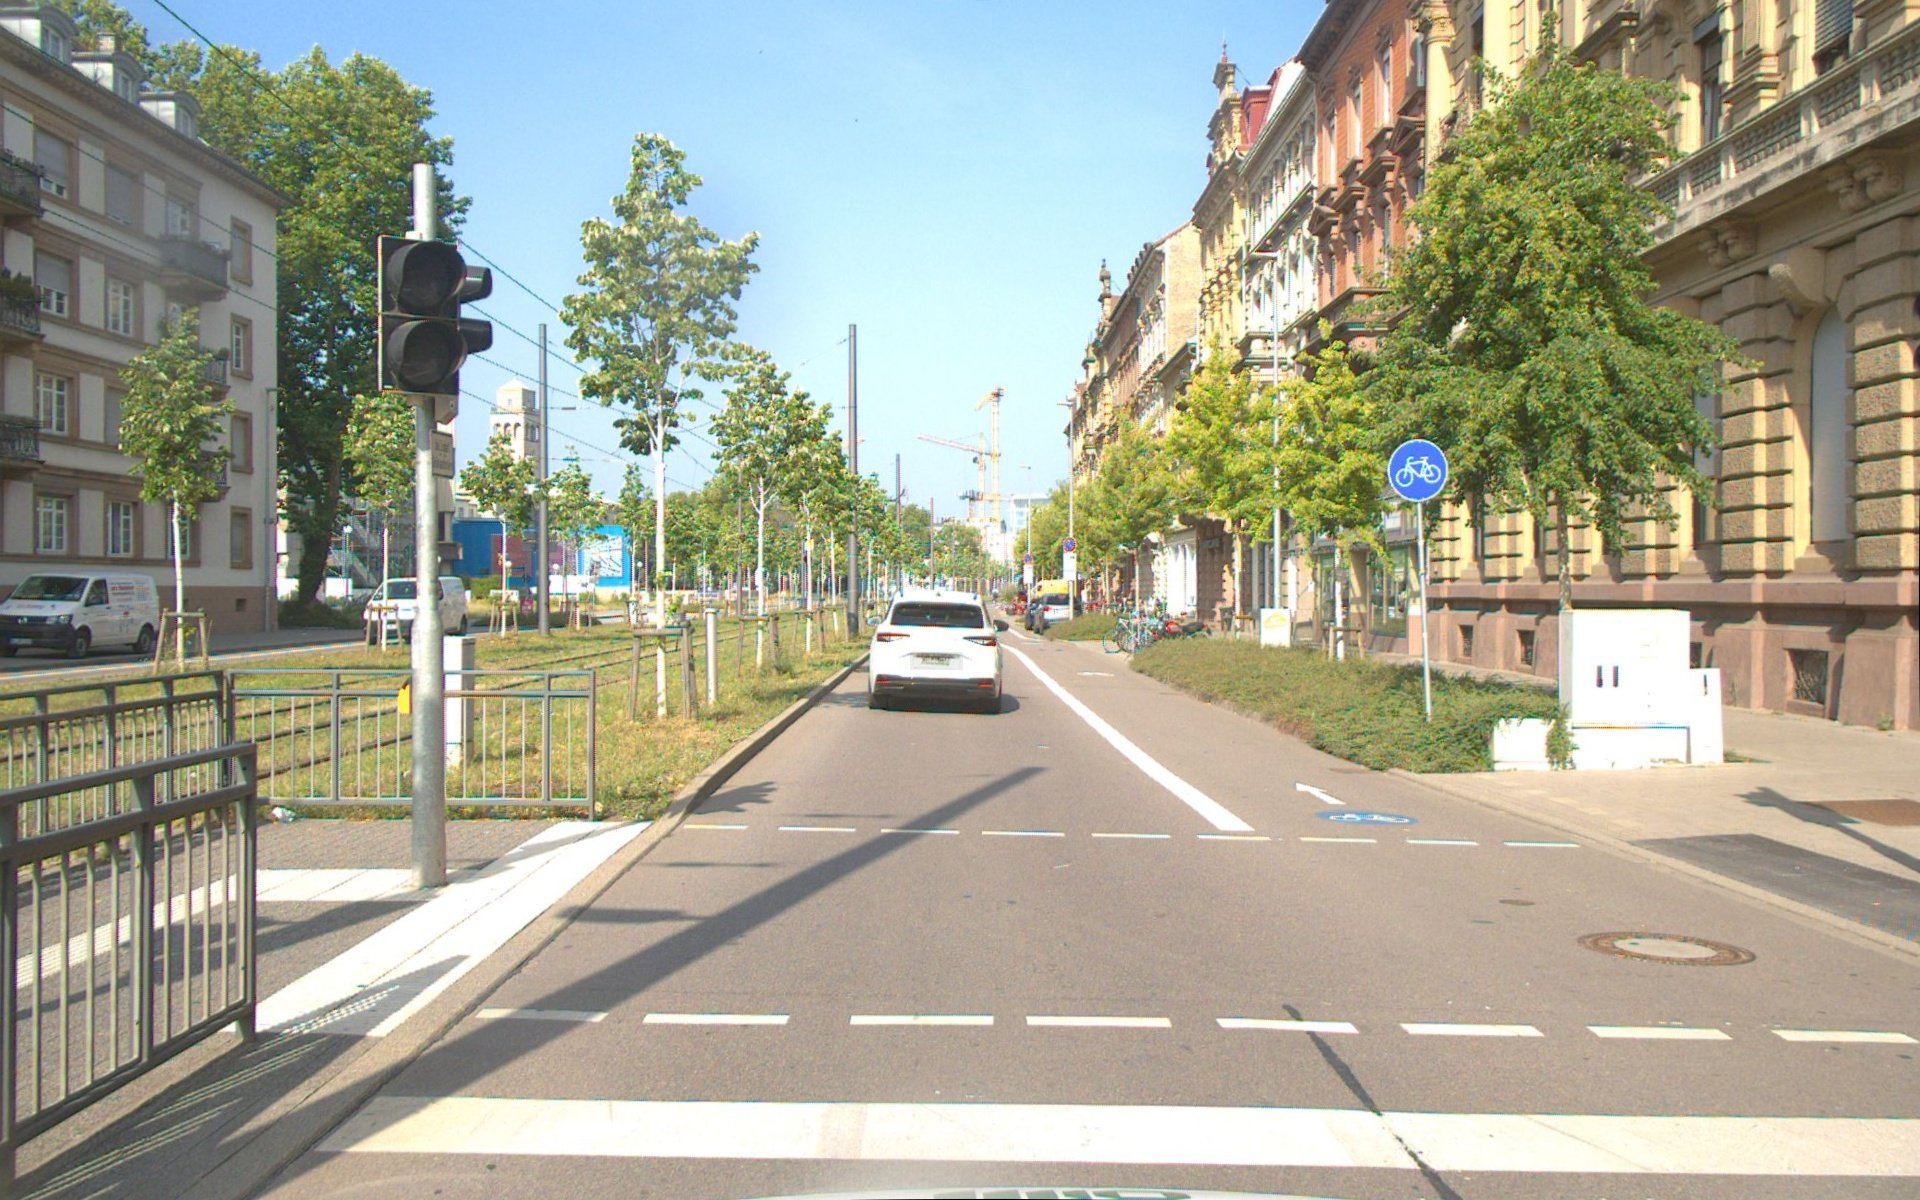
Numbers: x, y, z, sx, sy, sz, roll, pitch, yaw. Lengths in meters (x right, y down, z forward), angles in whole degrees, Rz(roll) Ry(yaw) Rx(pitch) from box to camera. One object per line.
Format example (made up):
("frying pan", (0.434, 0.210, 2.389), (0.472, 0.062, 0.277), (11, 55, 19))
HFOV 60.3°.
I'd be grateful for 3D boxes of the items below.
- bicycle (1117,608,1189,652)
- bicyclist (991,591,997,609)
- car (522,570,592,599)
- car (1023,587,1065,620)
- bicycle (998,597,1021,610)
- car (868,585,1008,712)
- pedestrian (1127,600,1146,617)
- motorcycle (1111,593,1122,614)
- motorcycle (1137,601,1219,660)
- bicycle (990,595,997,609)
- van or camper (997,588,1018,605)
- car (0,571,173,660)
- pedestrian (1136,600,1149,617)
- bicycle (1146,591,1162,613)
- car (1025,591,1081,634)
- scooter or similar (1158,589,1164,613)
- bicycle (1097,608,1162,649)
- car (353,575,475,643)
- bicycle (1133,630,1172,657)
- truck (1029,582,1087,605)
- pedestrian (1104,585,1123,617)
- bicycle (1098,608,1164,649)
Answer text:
("bicycle", (5.137, 0.789, 44.099), (1.772, 1.115, 0.671), (-2, 0, -6))
("bicyclist", (3.704, 0.028, 180.997), (0.694, 1.929, 0.843), (0, 0, 1))
("car", (-42.290, -1.628, 173.668), (6.777, 2.684, 2.498), (3, 0, -22))
("car", (3.767, 0.129, 74.732), (1.700, 1.420, 4.715), (-1, 0, 1))
("bicycle", (4.181, 0.276, 140.357), (1.894, 1.003, 0.471), (-2, 0, 1))
("car", (-0.290, 0.621, 23.558), (1.780, 1.617, 4.406), (1, 0, 0))
("pedestrian", (9.586, 0.447, 89.918), (0.860, 0.892, 0.710), (-2, 0, -4))
("motorcycle", (9.329, 0.213, 98.796), (0.454, 1.196, 1.945), (-2, 0, 0))
("motorcycle", (5.266, 0.719, 39.870), (2.019, 1.309, 0.696), (-2, 1, -36))
("bicycle", (3.685, 0.241, 181.159), (0.765, 1.522, 2.801), (0, 0, 1))
("van or camper", (4.662, -0.340, 162.521), (1.953, 1.684, 3.999), (-1, 0, -1))
("car", (-21.050, 0.319, 39.534), (1.953, 1.951, 5.153), (2, 0, 0))
("pedestrian", (9.746, 0.452, 88.224), (0.559, 0.869, 0.457), (-2, 0, -6))
("bicycle", (9.971, 0.108, 85.100), (0.442, 1.102, 1.445), (0, 0, -9))
("car", (3.725, 0.469, 66.641), (1.734, 1.616, 4.245), (-1, 0, -4))
("scooter or similar", (9.767, 0.063, 80.388), (0.282, 1.154, 1.089), (0, 0, 5))
("bicycle", (4.680, 0.774, 45.729), (1.749, 1.072, 0.372), (-2, 0, -2))
("car", (-16.144, 0.230, 49.174), (1.953, 1.928, 5.046), (0, 0, 0))
("bicycle", (4.832, 1.089, 41.485), (0.938, 0.620, 0.360), (-2, 0, 1))
("truck", (9.888, -0.676, 167.138), (5.746, 2.358, 2.222), (0, 0, 6))
("pedestrian", (8.227, 0.053, 88.736), (0.807, 1.726, 0.792), (-2, 0, -5))
("bicycle", (4.679, 0.773, 45.330), (1.749, 1.072, 0.372), (-2, 0, -2))
